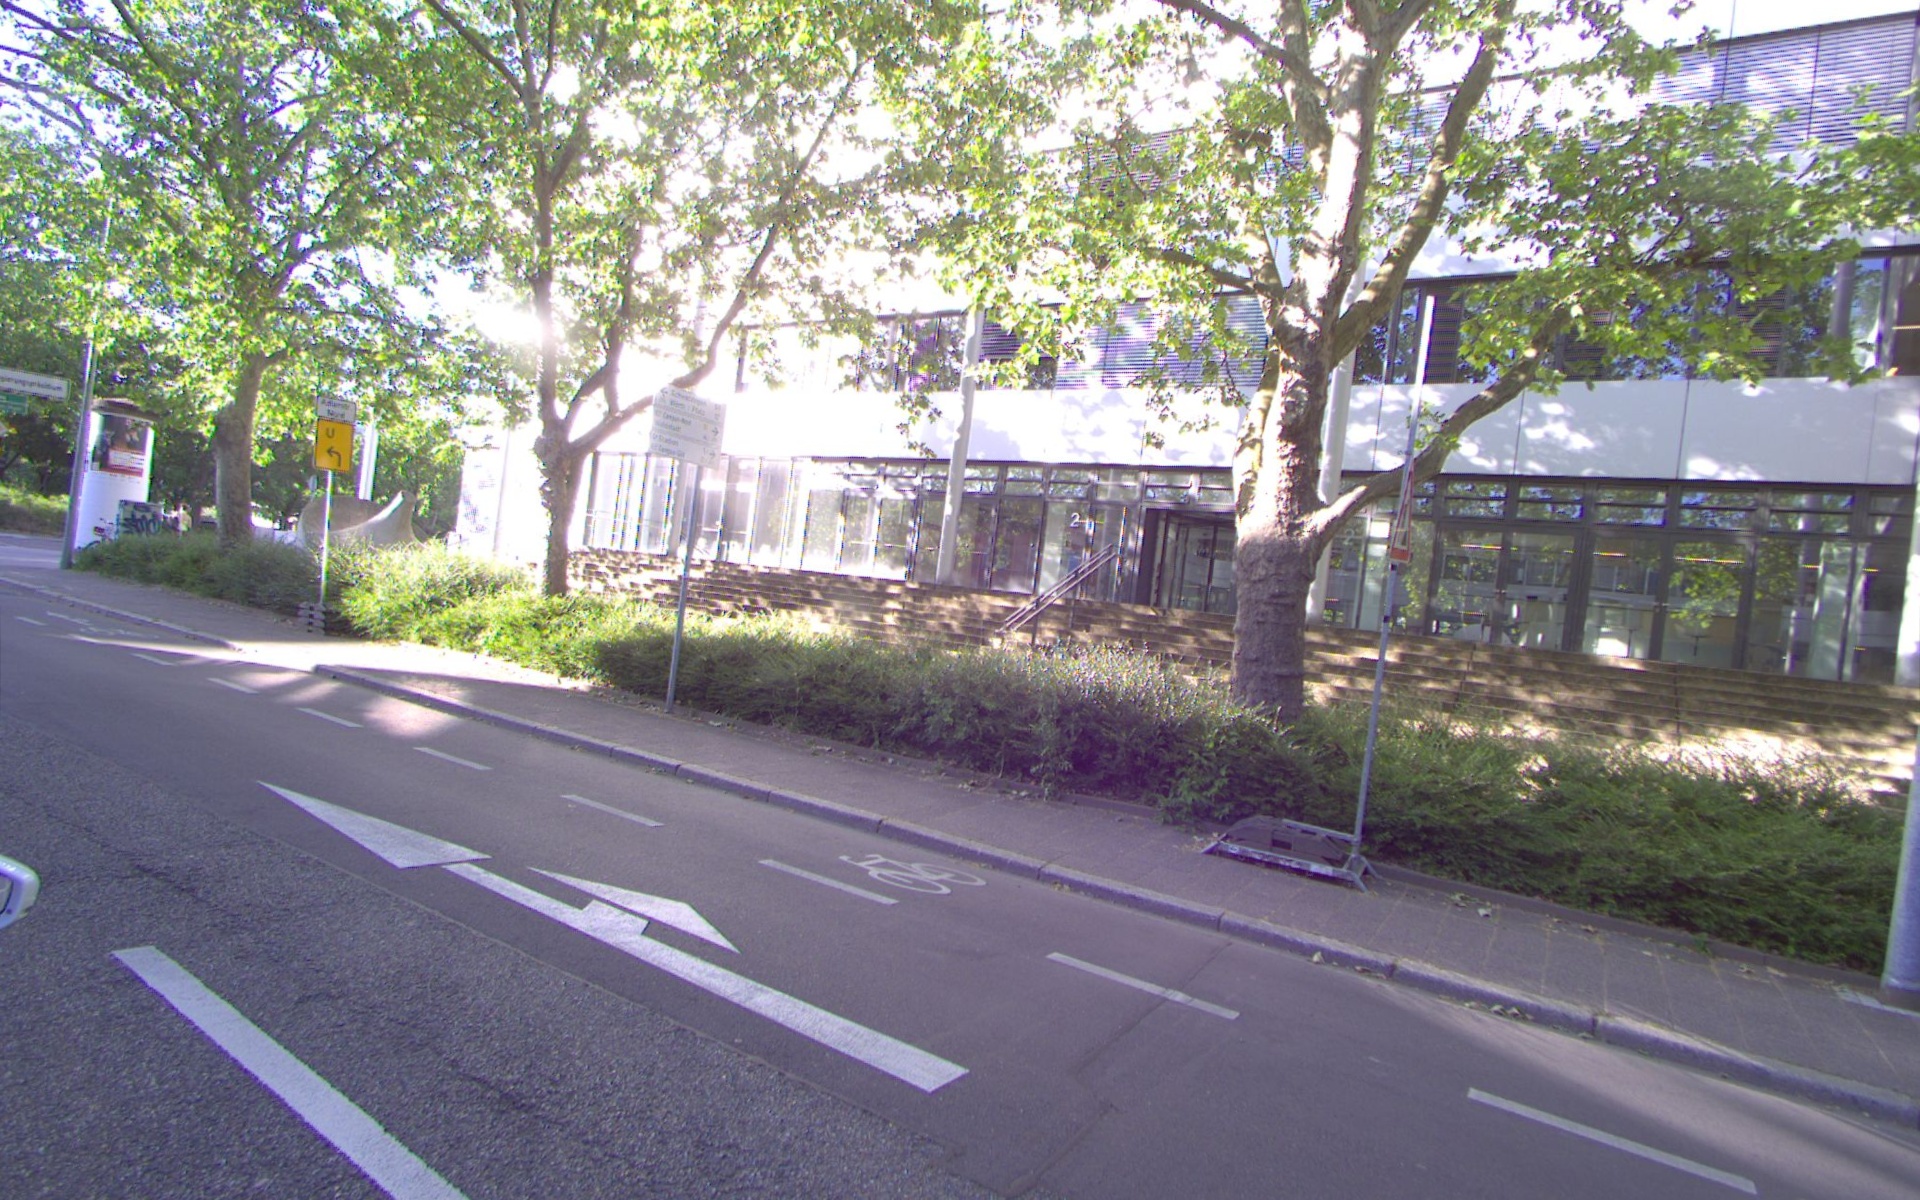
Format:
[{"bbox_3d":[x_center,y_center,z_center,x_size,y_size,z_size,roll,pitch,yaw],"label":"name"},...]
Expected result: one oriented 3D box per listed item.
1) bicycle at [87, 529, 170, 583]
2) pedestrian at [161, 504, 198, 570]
[{"bbox_3d":[-19.130,-1.002,23.175,0.357,1.036,1.354,7,-1,33],"label":"bicycle"},{"bbox_3d":[-23.403,-1.892,30.167,0.584,1.871,0.552,7,0,33],"label":"pedestrian"}]
